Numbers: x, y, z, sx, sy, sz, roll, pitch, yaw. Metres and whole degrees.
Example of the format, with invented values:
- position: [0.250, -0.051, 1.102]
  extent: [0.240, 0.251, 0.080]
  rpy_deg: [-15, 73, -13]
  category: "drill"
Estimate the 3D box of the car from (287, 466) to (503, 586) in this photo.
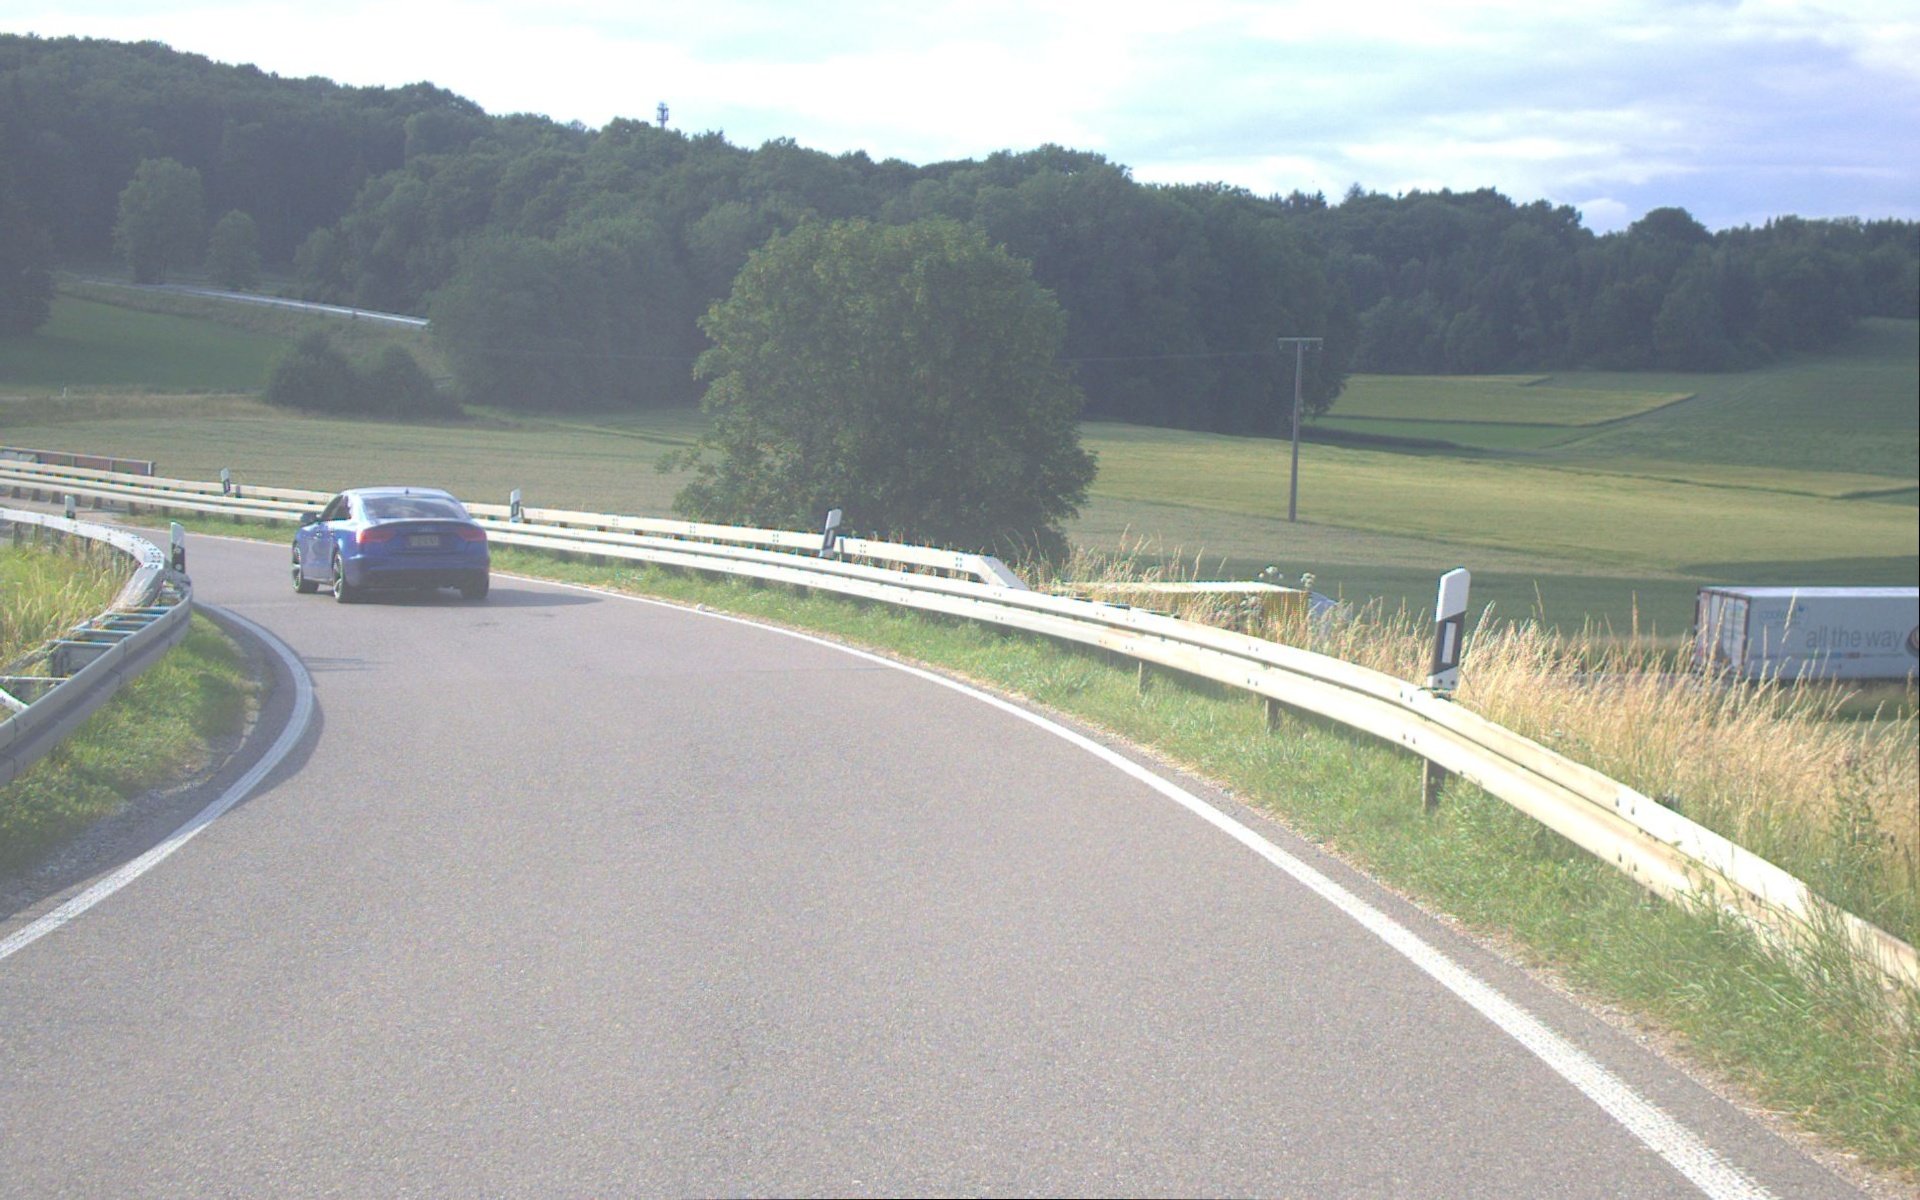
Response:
- position: [-7.105, -0.965, 42.929]
  extent: [1.818, 1.334, 4.352]
  rpy_deg: [-1, 3, -21]
  category: "car"

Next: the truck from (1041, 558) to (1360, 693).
- position: [7.735, 0.769, 109.820]
  extent: [9.770, 4.046, 3.838]
  rpy_deg: [0, 2, -33]
  category: "truck"

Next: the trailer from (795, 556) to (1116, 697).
- position: [-0.099, 0.764, 104.696]
  extent: [9.099, 4.046, 3.838]
  rpy_deg: [0, 2, -33]
  category: "trailer"

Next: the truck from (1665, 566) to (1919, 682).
- position: [32.099, 0.787, 123.373]
  extent: [14.376, 3.983, 4.080]
  rpy_deg: [0, 0, -31]
  category: "truck"
